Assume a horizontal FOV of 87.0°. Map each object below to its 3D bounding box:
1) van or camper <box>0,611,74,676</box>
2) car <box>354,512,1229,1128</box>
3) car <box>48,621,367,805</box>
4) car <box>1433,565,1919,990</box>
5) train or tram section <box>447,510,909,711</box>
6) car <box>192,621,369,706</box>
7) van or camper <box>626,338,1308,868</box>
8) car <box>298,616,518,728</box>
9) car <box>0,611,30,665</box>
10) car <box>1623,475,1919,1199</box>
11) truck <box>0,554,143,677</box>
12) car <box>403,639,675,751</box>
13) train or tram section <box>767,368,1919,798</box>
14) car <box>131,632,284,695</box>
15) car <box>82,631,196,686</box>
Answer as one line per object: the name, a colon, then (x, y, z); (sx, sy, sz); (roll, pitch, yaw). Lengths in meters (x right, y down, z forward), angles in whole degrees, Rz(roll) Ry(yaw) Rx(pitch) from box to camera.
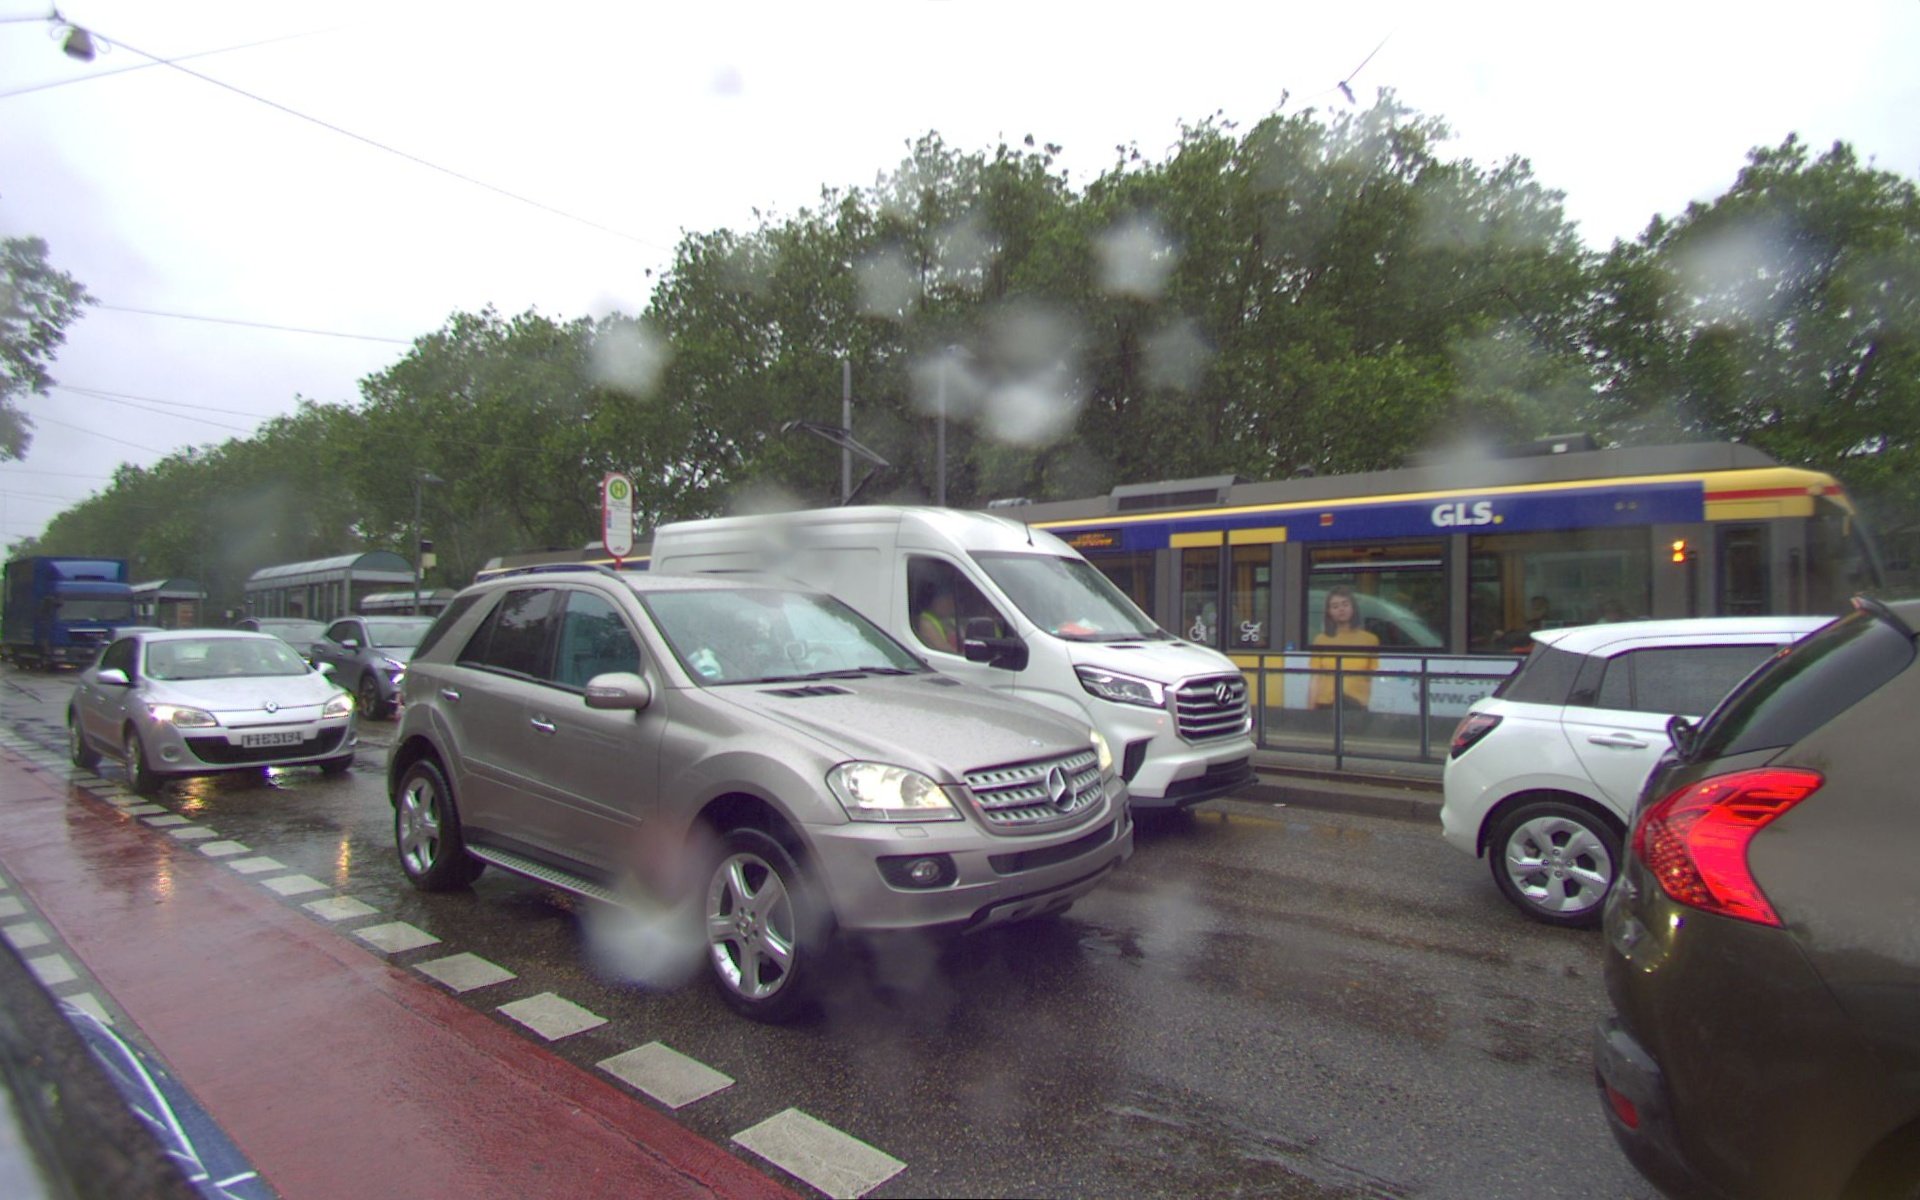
van or camper: (-39.935, 1.810, 43.471); (6.427, 2.590, 1.973); (-1, 0, 41)
car: (-1.154, 0.680, 5.159); (4.459, 1.784, 2.004); (-1, -1, 40)
car: (-7.734, 0.978, 10.274); (3.998, 1.489, 1.750); (-1, -1, 40)
car: (4.354, 0.699, 4.438); (3.834, 1.641, 1.628); (-1, -2, 41)
train or tram section: (-7.321, 0.290, 23.653); (13.652, 3.539, 3.476); (-1, 0, 41)
car: (-14.549, 1.283, 21.596); (4.316, 1.633, 1.974); (-1, -2, 40)
van or camper: (-0.286, 0.088, 8.735); (5.846, 3.166, 2.136); (-1, -3, 40)
car: (-9.344, 1.118, 16.979); (4.454, 1.636, 1.894); (-1, -3, 43)
car: (-46.586, 1.830, 48.923); (5.727, 2.445, 1.972); (-1, 0, 43)
car: (3.377, 0.616, 1.150); (4.170, 1.681, 1.815); (-1, -1, 41)
truck: (-32.175, 0.642, 36.227); (9.803, 3.919, 2.513); (-1, -4, 40)
car: (-5.354, 1.077, 12.627); (4.084, 1.126, 1.448); (-1, -1, 40)
train or tram section: (3.516, -0.021, 14.157); (15.499, 3.439, 3.503); (-1, 0, 42)
car: (-18.729, 1.519, 25.121); (4.602, 1.405, 1.973); (-1, -3, 40)
car: (-24.436, 1.686, 30.091); (4.074, 1.498, 1.871); (-1, -2, 40)
